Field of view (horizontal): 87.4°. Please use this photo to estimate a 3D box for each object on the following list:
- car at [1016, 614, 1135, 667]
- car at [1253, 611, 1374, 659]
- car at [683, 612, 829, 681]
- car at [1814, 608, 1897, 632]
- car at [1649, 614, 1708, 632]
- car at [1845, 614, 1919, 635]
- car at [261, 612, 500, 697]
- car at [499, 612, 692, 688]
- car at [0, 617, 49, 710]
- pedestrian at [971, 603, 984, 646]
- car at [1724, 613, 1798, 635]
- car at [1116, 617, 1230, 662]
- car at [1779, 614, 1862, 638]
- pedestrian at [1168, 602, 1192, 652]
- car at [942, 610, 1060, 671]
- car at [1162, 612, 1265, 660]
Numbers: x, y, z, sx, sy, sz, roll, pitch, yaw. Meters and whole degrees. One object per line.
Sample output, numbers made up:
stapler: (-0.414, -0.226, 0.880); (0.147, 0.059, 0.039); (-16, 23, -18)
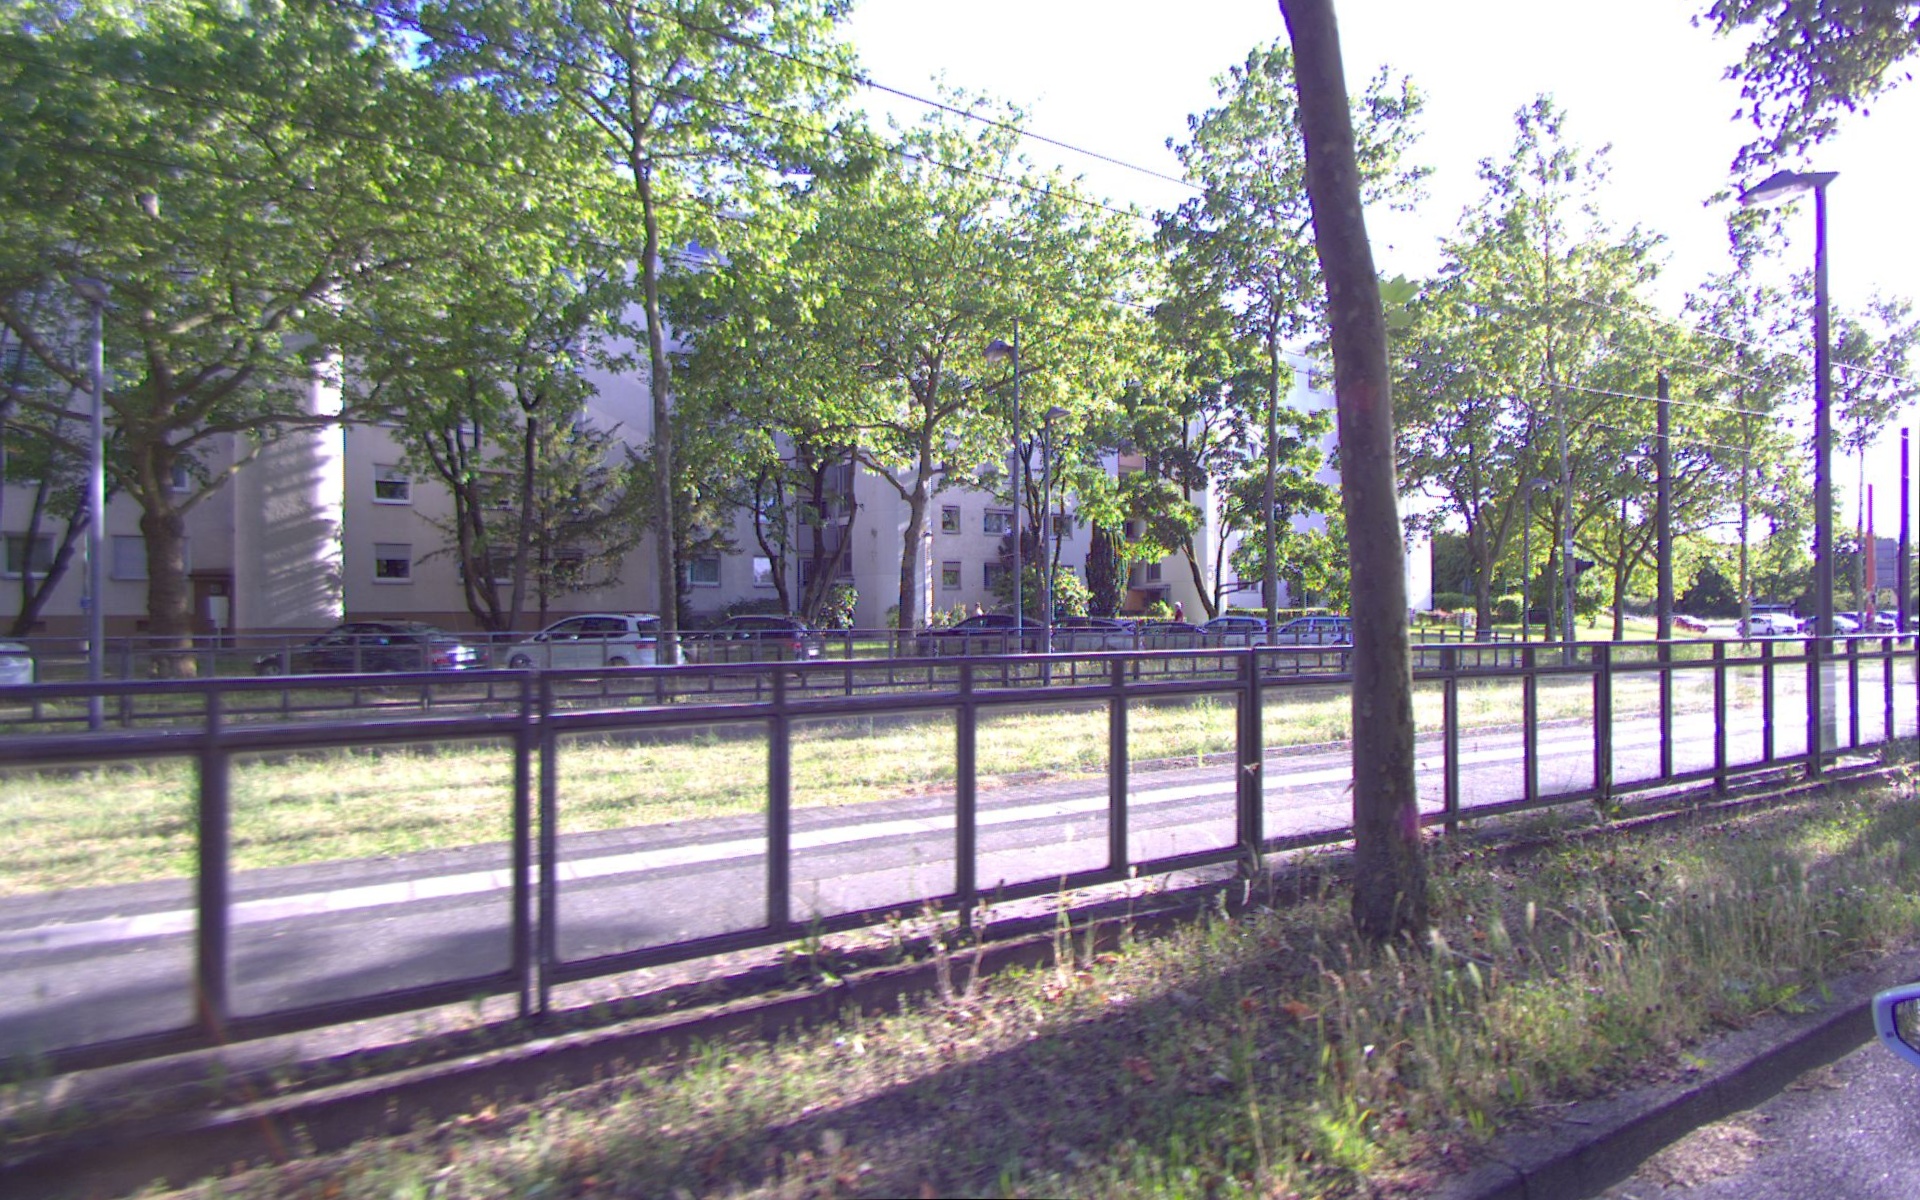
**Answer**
car: (3.438, 1.165, 29.701); (3.315, 1.445, 1.541); (1, 0, 13)
car: (12.182, 1.191, 34.869); (3.842, 1.496, 1.632); (1, 0, 17)
car: (-5.006, 1.100, 24.639); (3.321, 1.529, 1.463); (0, 1, 26)
car: (67.922, 1.521, 76.284); (1.867, 1.632, 4.491); (-2, -1, -12)
car: (63.171, 2.049, 88.342); (1.783, 1.455, 4.039); (-2, -1, -12)
car: (73.262, 1.972, 79.882); (1.867, 1.642, 3.992); (0, -1, -12)
car: (-11.683, 1.061, 20.329); (4.090, 1.565, 1.647); (0, 1, 11)
car: (-8.218, 1.076, 22.715); (3.914, 1.565, 1.646); (0, 1, 18)
car: (-17.654, 1.051, 16.724); (3.977, 1.493, 1.577); (0, 1, 11)
pedestrian: (0.734, 1.020, 42.034); (0.446, 1.816, 0.315); (0, 0, -37)
car: (64.313, 1.928, 80.744); (1.867, 1.632, 4.491); (-1, -1, -12)
car: (6.654, 1.201, 31.358); (3.317, 1.270, 1.465); (1, 0, 19)
car: (64.323, 1.939, 75.197); (1.867, 1.632, 4.491); (-2, -1, -12)
pedestrian: (8.020, 0.975, 36.574); (0.710, 1.816, 0.473); (1, 0, -32)
car: (1.164, 1.090, 27.807); (3.075, 1.568, 1.465); (0, 1, 12)
car: (8.458, 1.175, 33.431); (3.221, 1.450, 1.571); (1, 0, 17)
